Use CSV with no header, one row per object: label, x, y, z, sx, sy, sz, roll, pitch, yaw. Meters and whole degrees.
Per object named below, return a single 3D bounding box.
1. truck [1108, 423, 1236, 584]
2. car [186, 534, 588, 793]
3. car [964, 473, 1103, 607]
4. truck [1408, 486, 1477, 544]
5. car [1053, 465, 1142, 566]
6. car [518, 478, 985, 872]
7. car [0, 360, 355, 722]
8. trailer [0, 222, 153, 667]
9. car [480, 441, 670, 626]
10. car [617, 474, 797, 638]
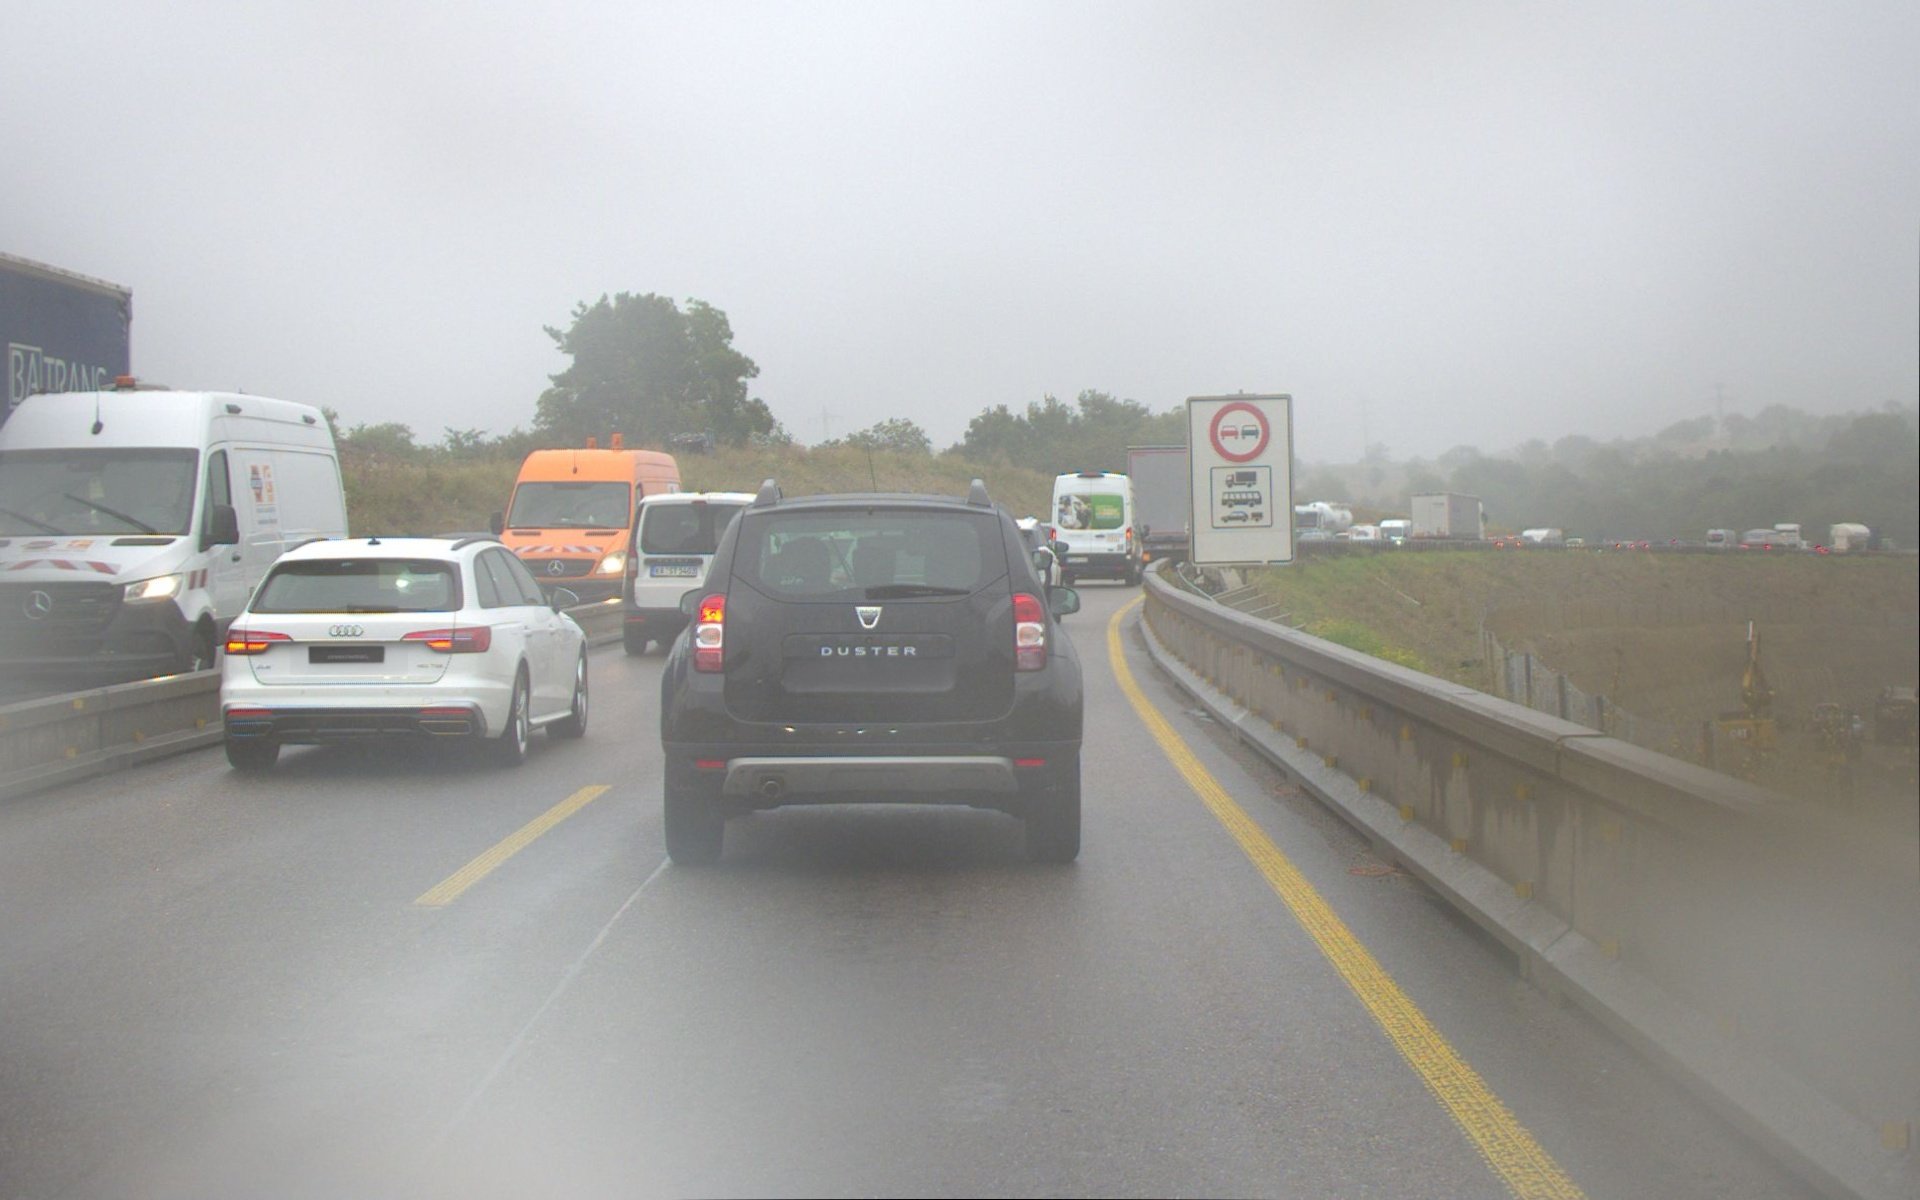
truck,7.090,-3.105,113.428,3.545,5.060,10.439,0,1,7
car,-3.539,0.342,21.916,1.826,1.494,4.000,0,1,1
car,1.075,-0.834,48.497,1.826,1.808,4.000,0,1,3
truck,32.088,-5.674,228.429,3.474,3.702,8.412,-1,2,15
car,3.420,-2.059,84.853,1.827,2.429,4.157,0,1,7
car,-0.832,0.279,15.914,1.826,1.585,4.000,0,1,1
car,-6.683,-0.558,28.573,2.006,2.644,6.885,0,2,1
trailer,-10.109,-1.349,29.524,2.779,4.021,13.742,0,2,1
car,-5.642,-1.029,51.262,2.054,2.568,7.021,0,2,0
car,-2.883,-0.510,39.903,1.826,1.808,4.000,0,1,0
